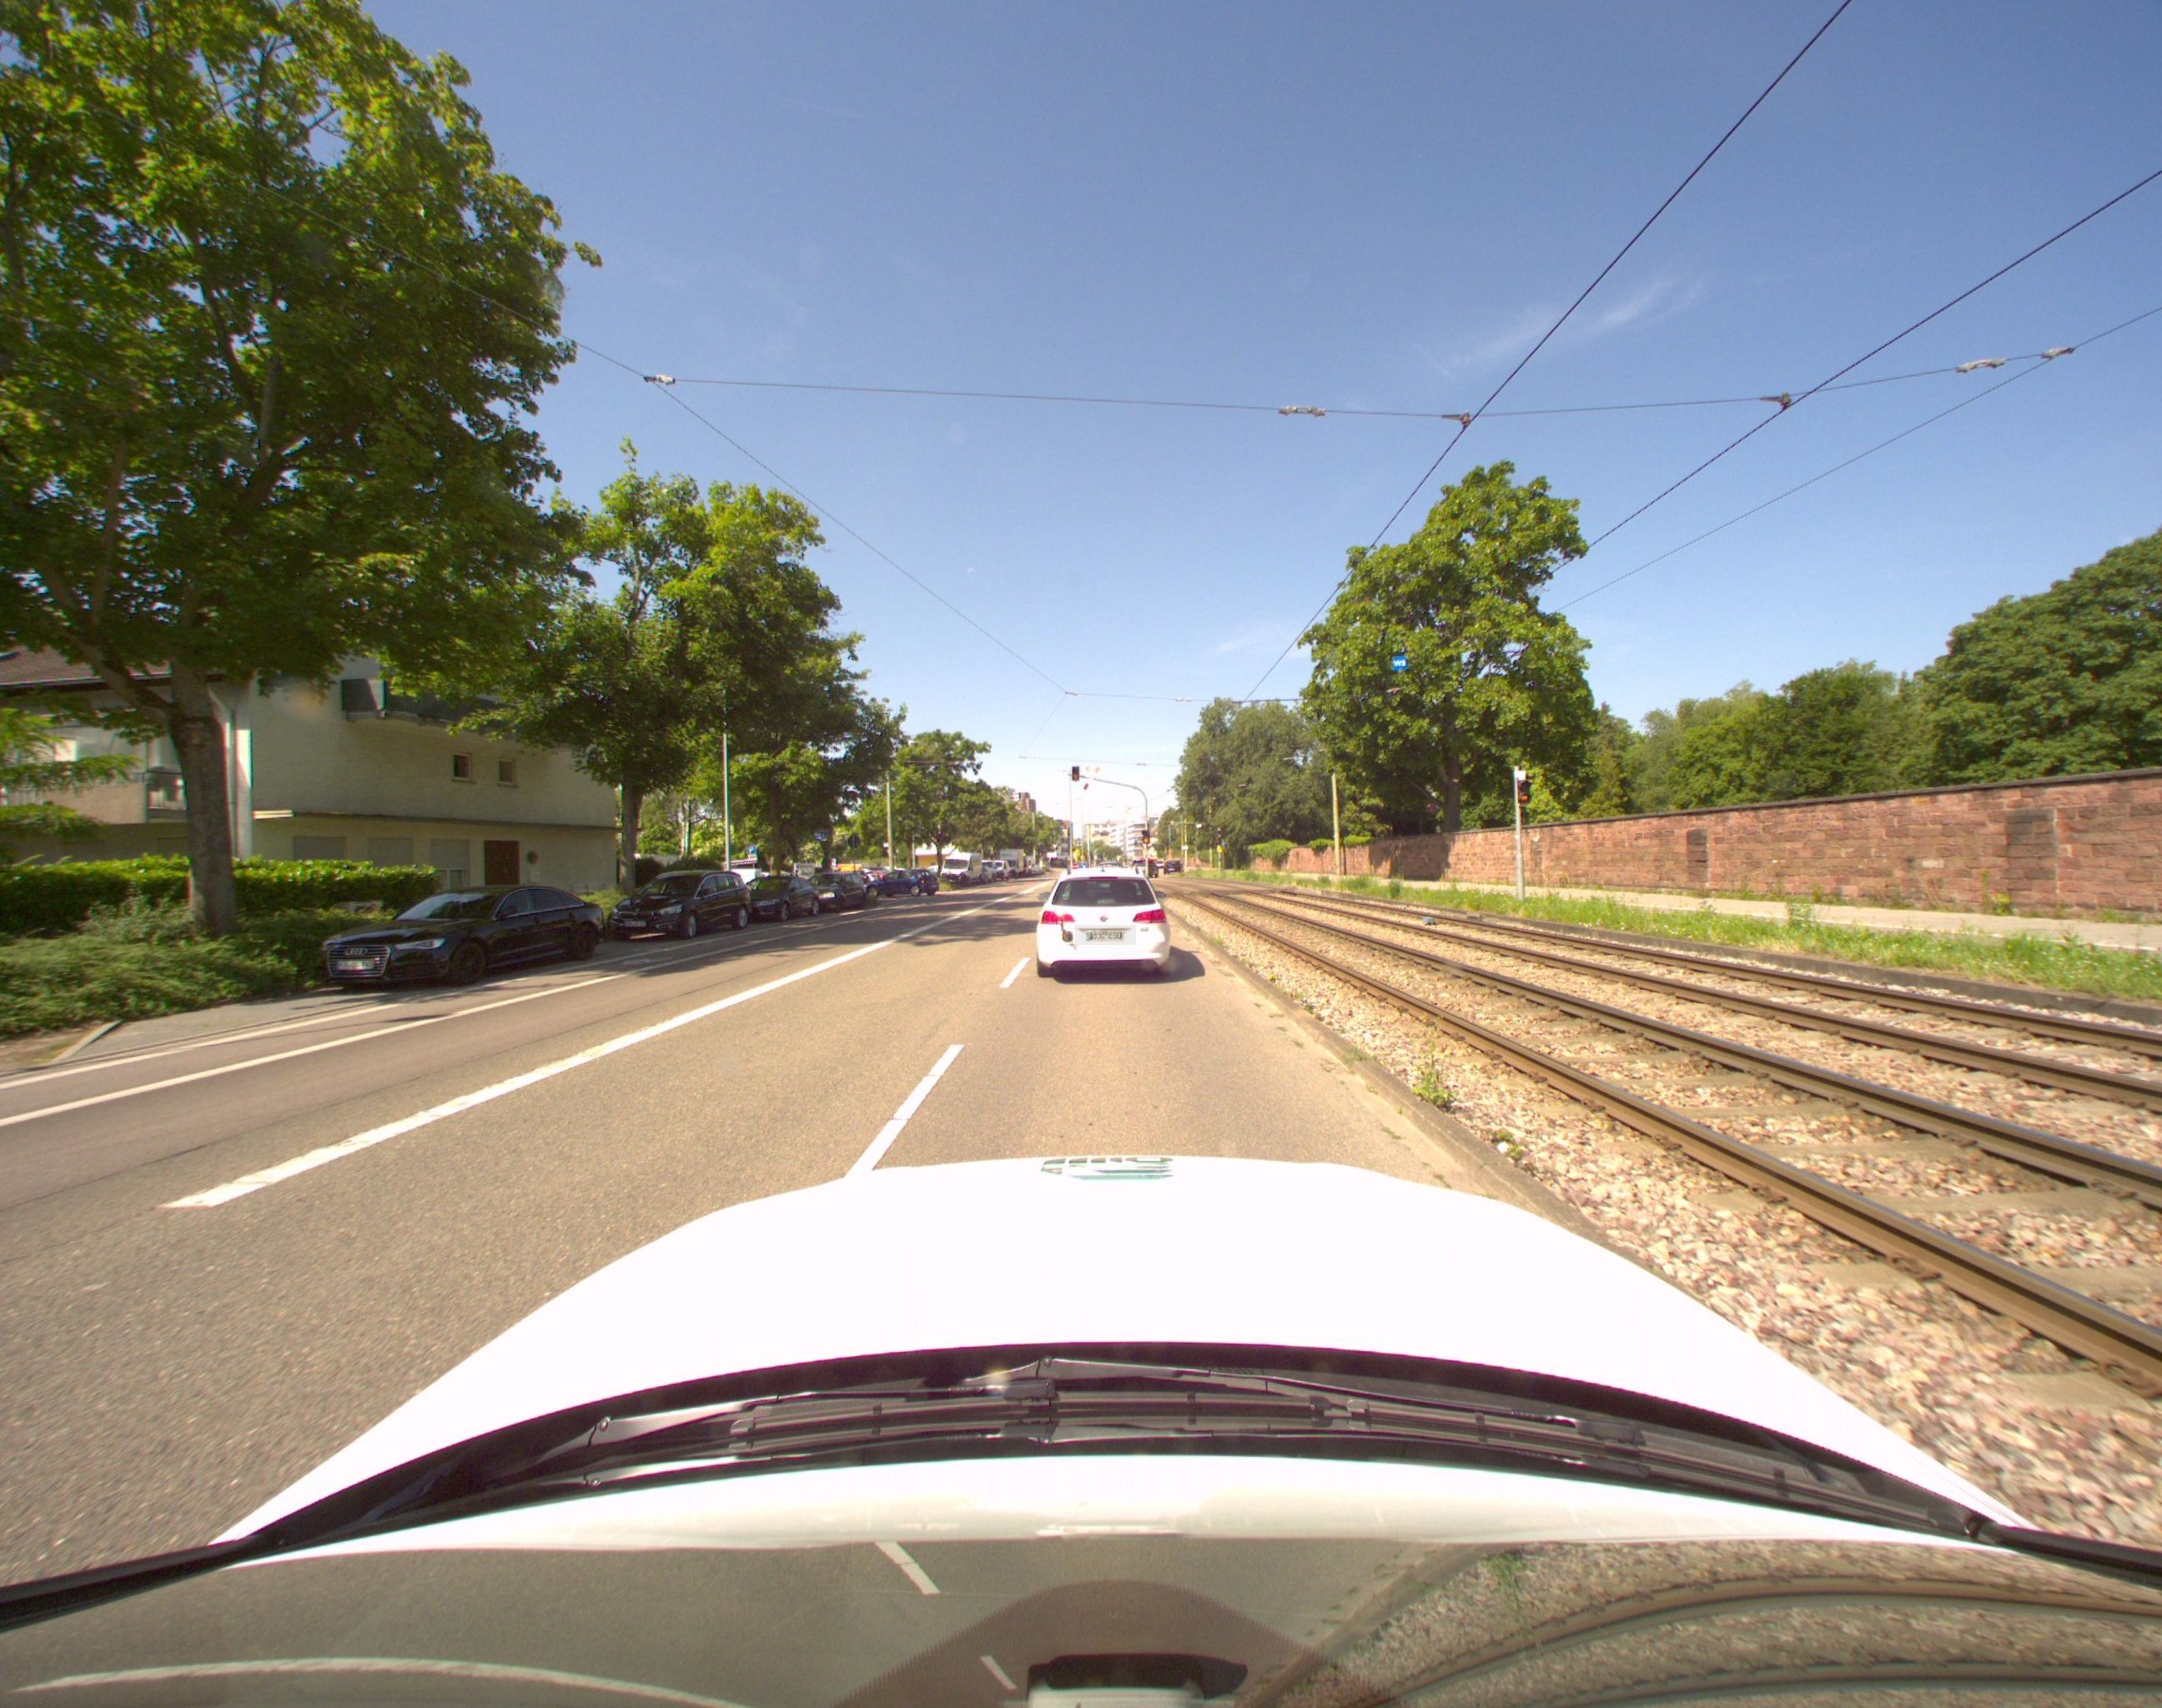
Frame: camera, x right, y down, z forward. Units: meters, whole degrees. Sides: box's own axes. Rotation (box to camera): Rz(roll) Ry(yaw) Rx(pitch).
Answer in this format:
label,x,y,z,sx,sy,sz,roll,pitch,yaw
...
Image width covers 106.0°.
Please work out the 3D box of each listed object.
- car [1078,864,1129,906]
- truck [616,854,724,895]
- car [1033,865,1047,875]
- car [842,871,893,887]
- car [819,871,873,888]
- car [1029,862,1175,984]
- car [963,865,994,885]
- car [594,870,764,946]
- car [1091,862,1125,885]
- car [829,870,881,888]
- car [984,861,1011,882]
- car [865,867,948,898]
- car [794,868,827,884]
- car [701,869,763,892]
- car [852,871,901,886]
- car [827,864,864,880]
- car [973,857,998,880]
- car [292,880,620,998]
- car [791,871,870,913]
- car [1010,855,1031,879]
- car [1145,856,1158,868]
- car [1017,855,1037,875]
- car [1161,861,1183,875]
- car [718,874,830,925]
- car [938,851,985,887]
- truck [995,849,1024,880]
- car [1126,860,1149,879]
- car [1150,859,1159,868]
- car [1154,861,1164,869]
label,x,y,z,sx,sy,sz,roll,pitch,yaw
car,0.808,1.066,29.430,1.739,1.388,3.914,0,0,1
truck,-31.820,1.551,63.181,7.119,3.019,2.231,1,-1,-1
car,-6.329,2.513,125.186,1.774,1.433,4.039,-2,-1,2
car,-19.213,2.209,73.349,3.969,1.264,1.773,-2,-1,4
car,-19.624,2.112,68.063,3.969,1.225,1.773,-2,-1,4
car,0.292,0.856,11.799,1.762,1.446,3.913,0,0,1
car,-8.451,1.704,67.488,1.837,1.517,4.198,-2,-1,2
car,-9.959,1.260,20.679,1.755,1.606,4.895,-1,0,1
car,1.750,1.198,51.452,1.852,1.416,4.332,0,0,6
car,-19.596,2.158,70.746,3.969,1.350,1.773,-2,-1,4
car,-8.229,1.667,80.716,1.836,1.960,5.136,-2,-1,2
car,-9.229,1.505,43.017,3.867,1.407,1.761,-2,0,20
car,-33.586,2.717,101.181,3.412,1.876,1.552,-2,-1,-1
car,-31.382,2.361,73.322,4.683,2.014,1.997,0,-1,-4
car,-19.018,2.266,75.771,3.969,1.225,1.773,-2,-1,4
car,-30.680,2.301,106.212,4.249,2.014,1.997,0,-1,-5
car,-8.774,1.337,75.083,1.839,1.937,5.189,-2,-1,-2
car,-10.086,1.255,13.798,1.835,1.465,4.907,-2,-1,-2
car,-9.533,1.404,31.310,1.635,1.450,4.007,0,-1,3
car,-7.180,1.535,96.721,1.836,2.668,5.006,-2,-1,2
car,14.853,1.738,171.515,2.454,2.499,5.911,0,-1,2
car,-6.921,1.368,104.783,1.836,2.494,5.859,-2,-1,2
car,9.504,1.445,84.706,1.733,1.407,3.929,0,0,15
car,-9.810,1.401,26.453,1.684,1.379,4.784,-2,0,1
car,-8.892,1.081,61.136,2.049,2.501,6.314,1,0,4
truck,-7.814,1.117,89.300,2.348,3.122,6.892,-2,-1,1
car,4.812,1.305,69.195,1.852,1.513,3.919,0,0,6
car,14.729,1.985,163.608,1.685,1.812,3.455,0,-1,1
car,14.302,1.993,148.842,1.576,1.346,3.455,0,-1,2
